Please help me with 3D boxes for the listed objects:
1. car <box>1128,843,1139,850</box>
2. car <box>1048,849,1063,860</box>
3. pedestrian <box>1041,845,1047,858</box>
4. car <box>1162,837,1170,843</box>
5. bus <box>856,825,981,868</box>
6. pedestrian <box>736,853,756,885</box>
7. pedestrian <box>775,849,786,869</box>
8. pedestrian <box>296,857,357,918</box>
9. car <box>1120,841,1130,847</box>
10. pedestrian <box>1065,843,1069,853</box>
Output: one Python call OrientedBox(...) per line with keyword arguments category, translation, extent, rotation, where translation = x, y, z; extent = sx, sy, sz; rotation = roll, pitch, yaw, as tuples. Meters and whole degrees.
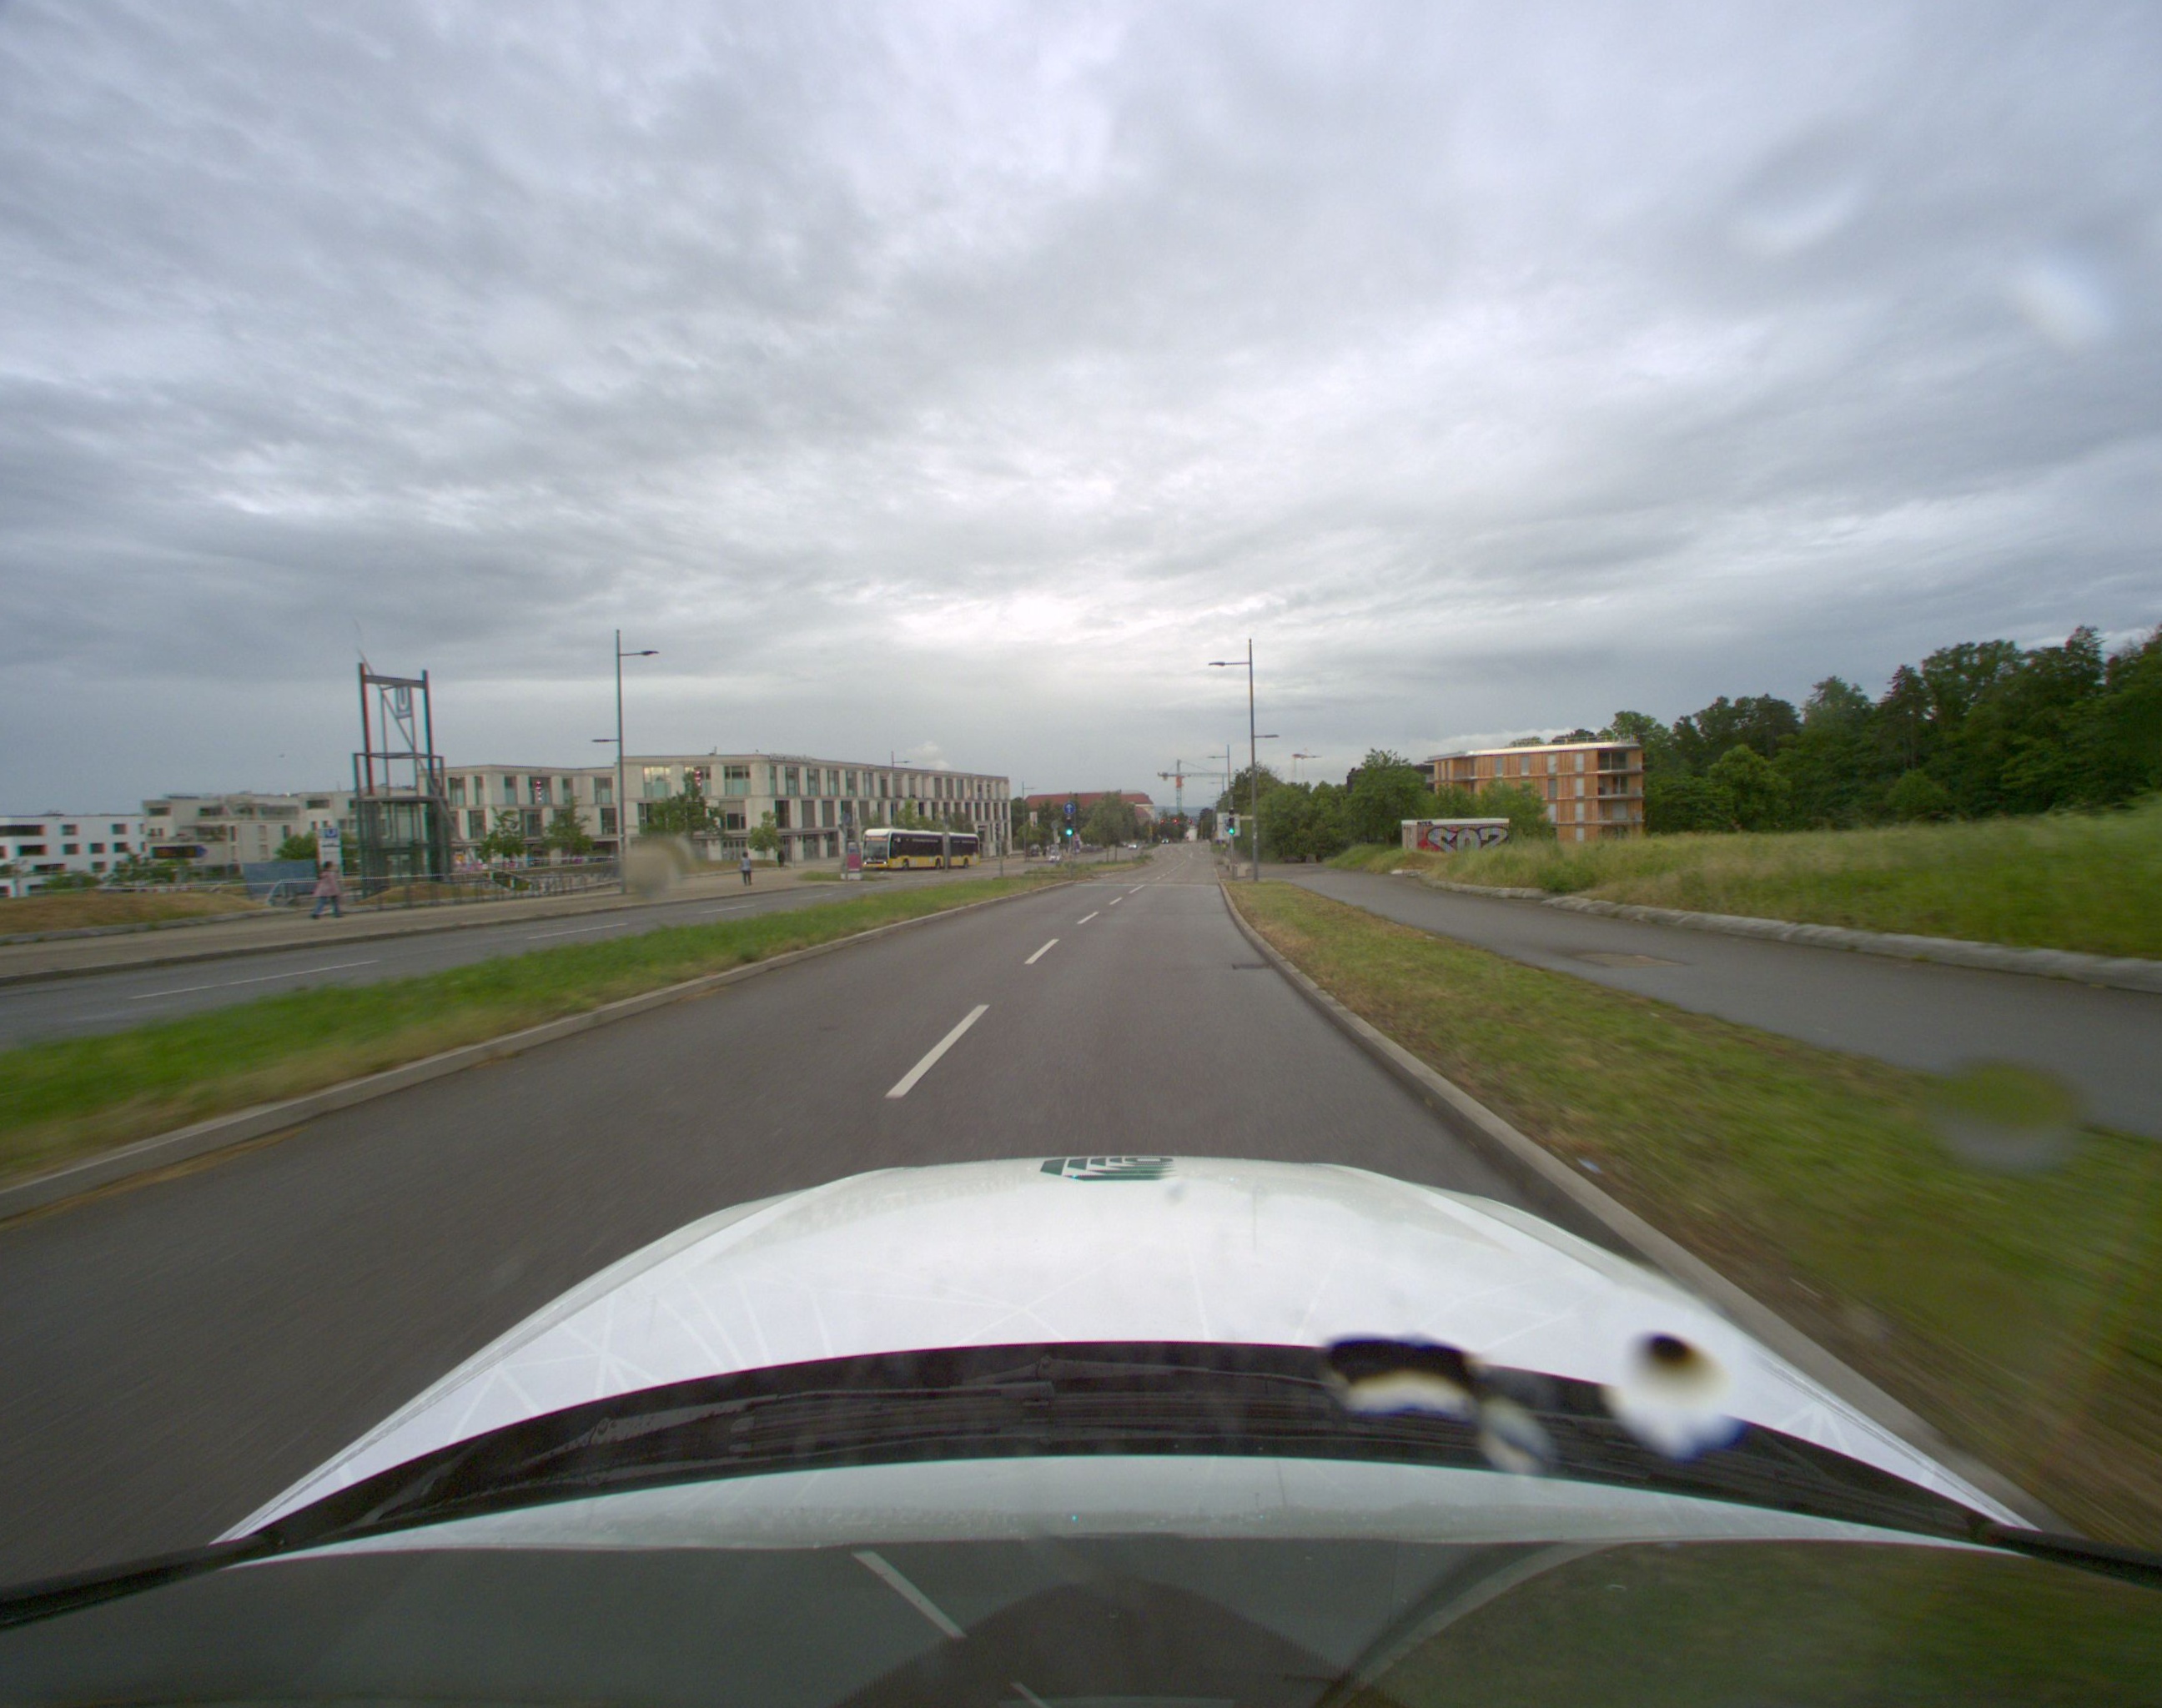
OrientedBox(category="car", translation=(11.861, -1.659, 184.619), extent=(1.757, 1.494, 4.082), rotation=(-2, -1, 13))
OrientedBox(category="car", translation=(-3.524, 0.031, 114.165), extent=(1.467, 1.494, 2.540), rotation=(-2, -1, 14))
OrientedBox(category="pedestrian", translation=(-5.935, -0.400, 131.335), extent=(0.748, 1.947, 0.835), rotation=(-1, -1, -9))
OrientedBox(category="car", translation=(25.836, -4.308, 248.245), extent=(1.757, 1.494, 4.082), rotation=(-2, -1, 14))
OrientedBox(category="bus", translation=(-13.826, -0.491, 72.515), extent=(2.764, 3.357, 18.302), rotation=(-2, -1, 16))
OrientedBox(category="pedestrian", translation=(-16.682, 0.738, 40.594), extent=(0.836, 1.573, 0.715), rotation=(-1, -1, -16))
OrientedBox(category="pedestrian", translation=(-23.608, 0.389, 64.002), extent=(0.682, 1.524, 0.717), rotation=(-1, -1, -10))
OrientedBox(category="pedestrian", translation=(-20.867, 0.913, 22.540), extent=(0.811, 1.621, 0.935), rotation=(-1, -1, 1))
OrientedBox(category="car", translation=(11.217, -2.582, 207.286), extent=(1.769, 1.494, 4.055), rotation=(-1, -1, -9))
OrientedBox(category="pedestrian", translation=(-2.752, -1.153, 159.287), extent=(0.748, 2.014, 0.835), rotation=(-1, -1, -9))
